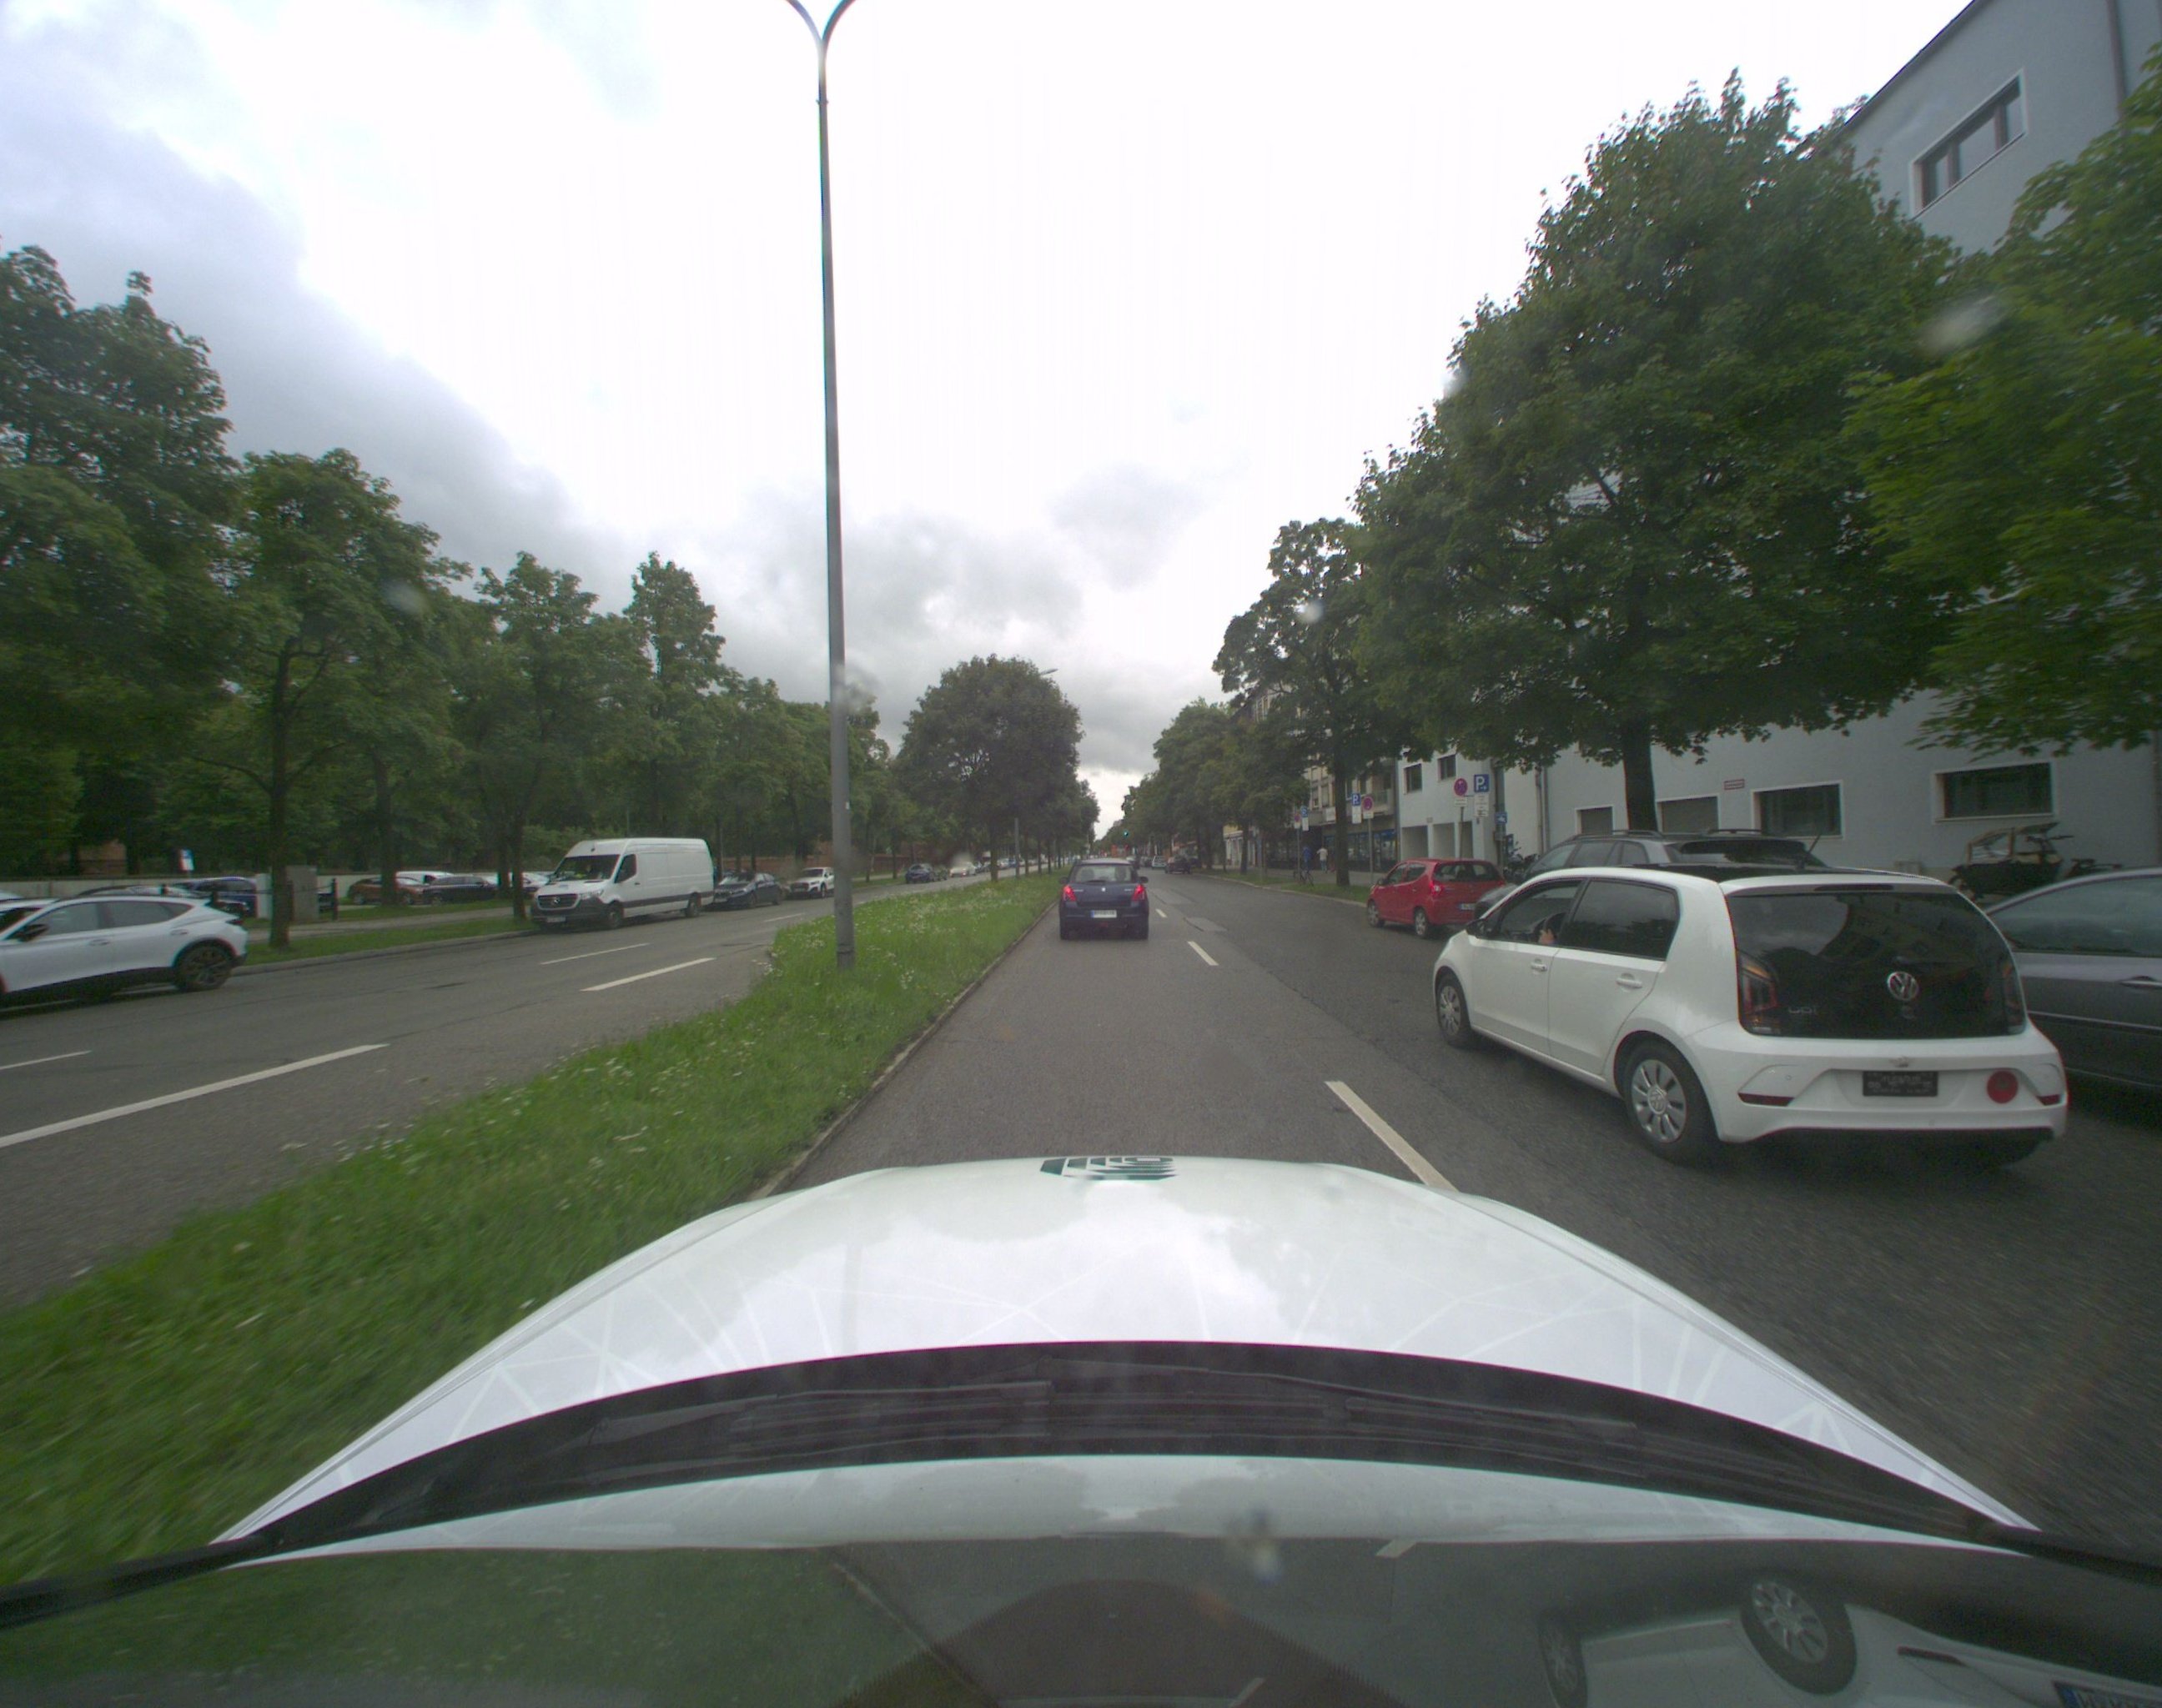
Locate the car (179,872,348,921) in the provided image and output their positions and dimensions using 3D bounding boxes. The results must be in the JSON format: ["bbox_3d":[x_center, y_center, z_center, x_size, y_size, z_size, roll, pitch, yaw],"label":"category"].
[{"bbox_3d":[-26.996,1.377,26.963,3.967,1.438,1.818,-2,0,6],"label":"car"}]

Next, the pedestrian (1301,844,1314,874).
[{"bbox_3d":[13.246,0.280,47.651,0.498,1.733,0.733,-2,0,1],"label":"pedestrian"}]

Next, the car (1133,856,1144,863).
[{"bbox_3d":[12.476,1.128,176.665,1.986,1.530,4.001,-2,0,1],"label":"car"}]

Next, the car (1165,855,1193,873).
[{"bbox_3d":[8.290,0.821,69.465,1.986,1.452,4.001,-2,0,2],"label":"car"}]

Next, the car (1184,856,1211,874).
[{"bbox_3d":[10.988,1.029,76.852,1.986,1.643,4.334,-2,0,2],"label":"car"}]

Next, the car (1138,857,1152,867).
[{"bbox_3d":[9.478,1.188,121.320,1.649,1.452,3.998,-1,0,-1],"label":"car"}]

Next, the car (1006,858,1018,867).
[{"bbox_3d":[-12.532,1.580,148.382,1.700,1.534,4.001,-2,0,1],"label":"car"}]

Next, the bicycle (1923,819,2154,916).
[{"bbox_3d":[15.526,0.203,13.363,0.700,1.407,2.593,-4,0,2],"label":"bicycle"}]

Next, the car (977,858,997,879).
[{"bbox_3d":[-13.462,2.069,116.733,2.179,2.954,6.188,-1,0,-1],"label":"car"}]

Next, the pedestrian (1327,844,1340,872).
[{"bbox_3d":[14.885,0.232,48.052,0.539,1.640,0.725,-2,0,1],"label":"pedestrian"}]

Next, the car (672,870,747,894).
[{"bbox_3d":[-26.291,1.954,57.762,4.334,1.505,2.000,-2,0,0],"label":"car"}]

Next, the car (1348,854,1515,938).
[{"bbox_3d":[6.824,0.750,16.322,1.517,1.441,3.997,-1,0,-2],"label":"car"}]

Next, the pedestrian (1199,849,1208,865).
[{"bbox_3d":[14.804,0.350,98.293,0.790,1.855,0.776,-3,0,-2],"label":"pedestrian"}]

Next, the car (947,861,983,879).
[{"bbox_3d":[-11.714,1.568,82.538,1.746,1.537,4.336,-4,0,19],"label":"car"}]

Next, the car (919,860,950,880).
[{"bbox_3d":[-12.313,1.313,68.741,1.632,1.537,4.315,-4,0,1],"label":"car"}]

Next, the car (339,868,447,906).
[{"bbox_3d":[-39.559,1.868,46.907,4.490,2.034,2.000,-1,0,0],"label":"car"}]

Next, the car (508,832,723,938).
[{"bbox_3d":[-13.702,0.794,24.781,2.132,2.643,7.108,-3,0,2],"label":"car"}]

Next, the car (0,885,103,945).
[{"bbox_3d":[-27.462,1.546,20.253,3.975,1.338,1.814,-2,0,-1],"label":"car"}]

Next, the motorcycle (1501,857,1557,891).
[{"bbox_3d":[15.300,0.669,27.887,0.758,1.086,2.200,-2,0,2],"label":"motorcycle"}]

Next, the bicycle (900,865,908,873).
[{"bbox_3d":[-20.931,1.775,96.191,0.653,0.936,1.618,-1,0,-1],"label":"bicycle"}]

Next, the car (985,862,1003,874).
[{"bbox_3d":[-13.180,2.142,123.419,2.179,1.736,4.575,-1,0,-1],"label":"car"}]

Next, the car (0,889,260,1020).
[{"bbox_3d":[-14.069,1.321,10.853,1.815,1.527,4.298,-3,-1,0],"label":"car"}]

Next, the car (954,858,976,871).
[{"bbox_3d":[-13.450,1.196,94.650,1.807,1.536,4.298,-1,0,0],"label":"car"}]

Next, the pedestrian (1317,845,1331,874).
[{"bbox_3d":[14.241,0.313,47.667,0.547,1.629,0.641,-3,-1,1],"label":"pedestrian"}]

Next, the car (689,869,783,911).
[{"bbox_3d":[-13.530,1.376,32.193,1.851,1.491,4.251,-1,-1,0],"label":"car"}]

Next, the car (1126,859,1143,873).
[{"bbox_3d":[6.246,1.366,95.024,1.815,1.477,4.691,0,0,1],"label":"car"}]

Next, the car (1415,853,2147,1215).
[{"bbox_3d":[3.684,0.763,5.178,1.681,1.490,3.434,-1,0,0],"label":"car"}]

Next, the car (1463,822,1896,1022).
[{"bbox_3d":[6.384,0.612,9.507,1.822,1.746,4.510,-1,0,2],"label":"car"}]

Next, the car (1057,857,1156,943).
[{"bbox_3d":[0.540,0.831,16.643,1.746,1.505,4.002,-1,0,2],"label":"car"}]

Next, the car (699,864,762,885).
[{"bbox_3d":[-26.438,1.526,61.561,3.962,1.392,1.760,-2,0,1],"label":"car"}]

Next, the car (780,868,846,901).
[{"bbox_3d":[-13.176,1.459,40.240,1.851,1.491,4.141,-1,-1,0],"label":"car"}]

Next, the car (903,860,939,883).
[{"bbox_3d":[-12.385,1.336,63.215,1.881,1.537,4.313,-4,0,0],"label":"car"}]

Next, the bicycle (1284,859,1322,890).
[{"bbox_3d":[9.281,0.846,34.101,0.455,1.256,2.137,-1,0,-17],"label":"bicycle"}]

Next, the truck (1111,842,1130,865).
[{"bbox_3d":[6.409,-0.067,133.588,3.030,3.557,13.681,-1,0,2],"label":"truck"}]

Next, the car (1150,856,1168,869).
[{"bbox_3d":[9.000,0.951,93.998,1.649,1.452,3.998,-1,0,-1],"label":"car"}]

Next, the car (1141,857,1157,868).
[{"bbox_3d":[9.252,1.107,110.576,1.649,1.452,4.706,-1,0,-1],"label":"car"}]

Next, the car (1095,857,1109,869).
[{"bbox_3d":[2.737,1.212,105.861,1.712,1.501,4.301,-1,0,1],"label":"car"}]

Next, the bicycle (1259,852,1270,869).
[{"bbox_3d":[15.819,0.539,70.197,0.578,1.463,1.689,-2,0,2],"label":"bicycle"}]

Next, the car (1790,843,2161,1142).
[{"bbox_3d":[6.461,0.704,4.482,1.823,1.522,3.770,-1,0,0],"label":"car"}]
